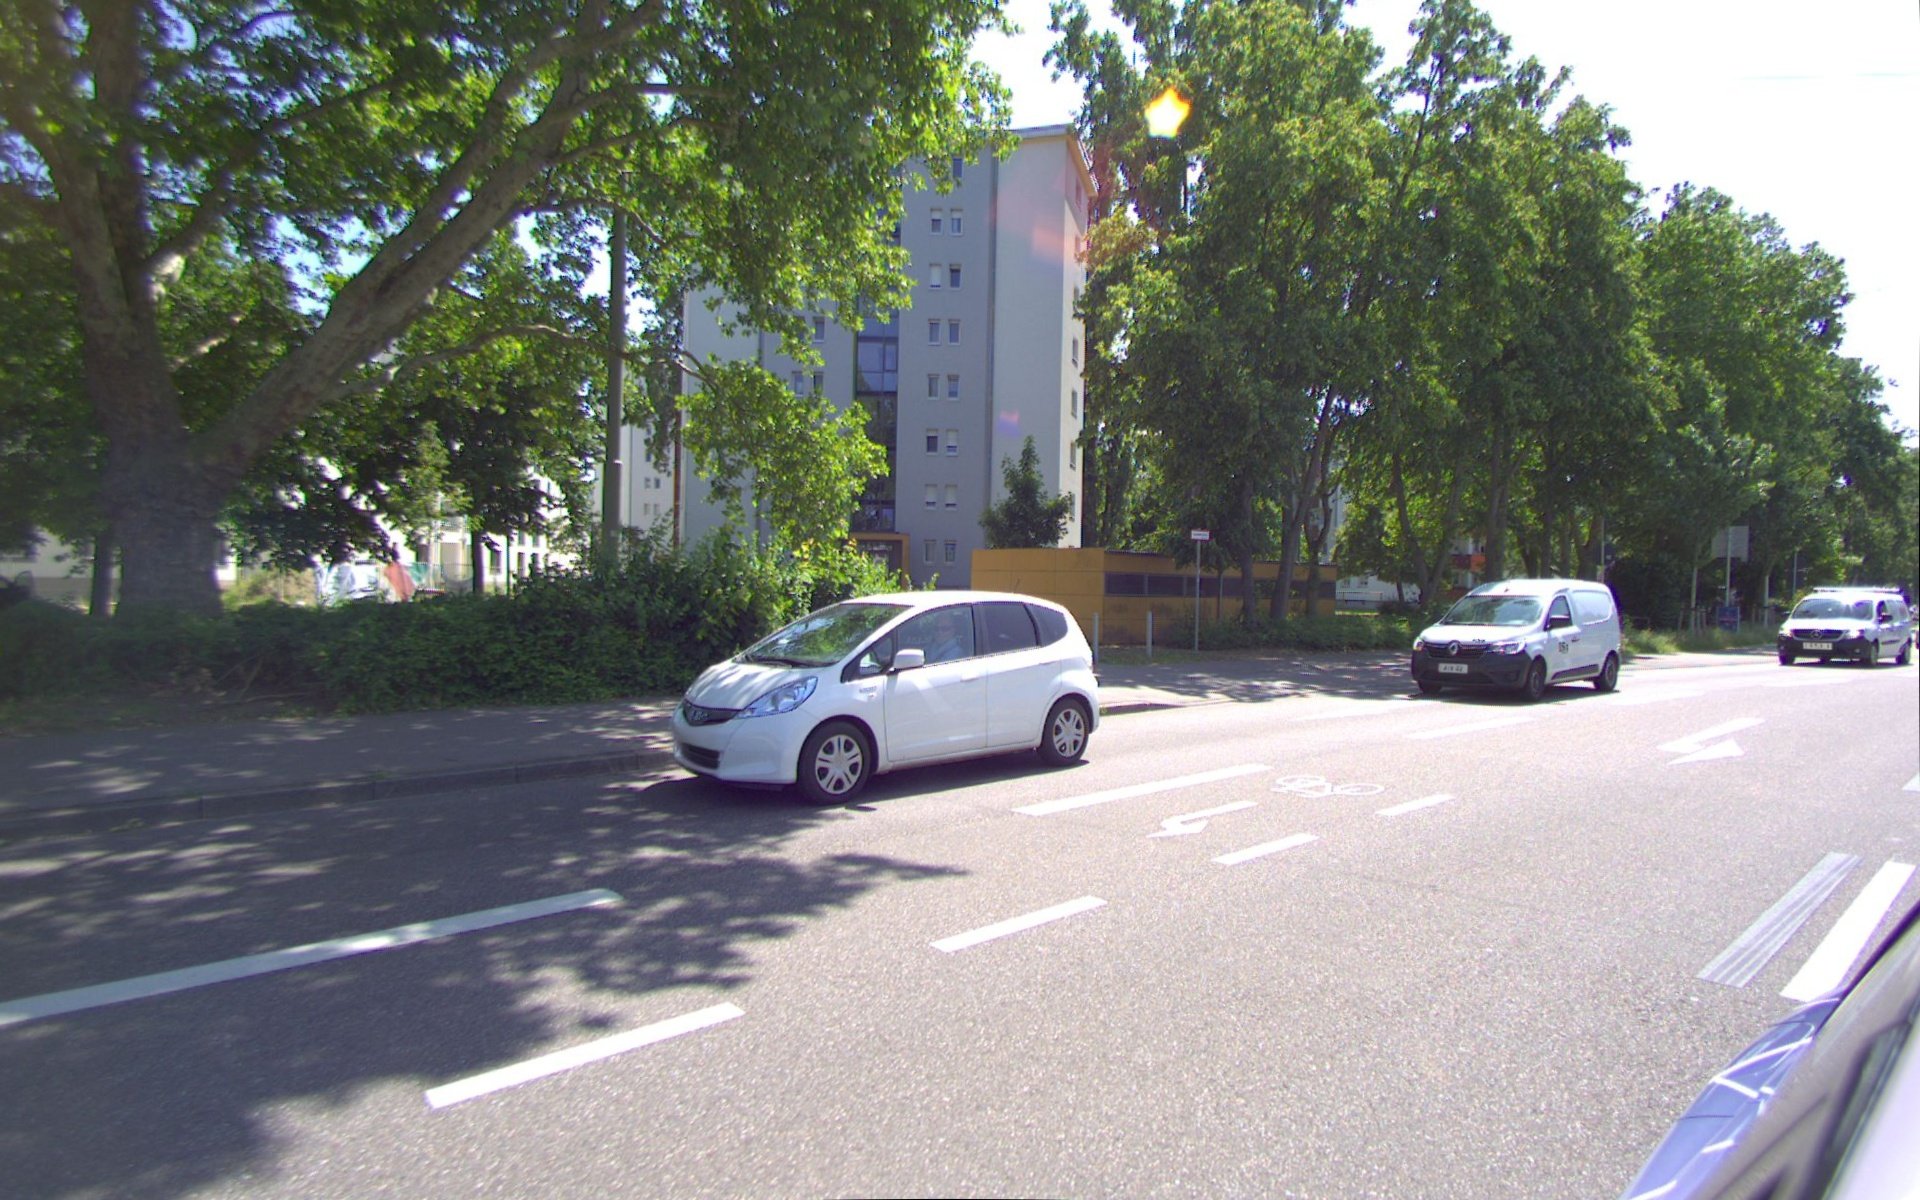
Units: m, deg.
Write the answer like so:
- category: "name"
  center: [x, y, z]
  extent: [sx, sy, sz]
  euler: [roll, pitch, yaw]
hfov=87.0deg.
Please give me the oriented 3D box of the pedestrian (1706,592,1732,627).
- category: "pedestrian"
  center: [31.630, 0.397, 42.195]
  extent: [0.749, 1.416, 0.709]
  euler: [1, -1, -40]

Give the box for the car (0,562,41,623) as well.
- category: "car"
  center: [-28.144, -0.209, 28.132]
  extent: [1.709, 1.723, 3.746]
  euler: [0, 0, 3]

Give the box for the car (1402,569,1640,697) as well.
- category: "car"
  center: [8.920, 0.463, 15.959]
  extent: [4.346, 1.769, 1.714]
  euler: [0, -1, -38]

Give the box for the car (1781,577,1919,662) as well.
- category: "car"
  center: [21.870, 0.444, 24.622]
  extent: [4.988, 1.879, 1.810]
  euler: [0, -1, -37]

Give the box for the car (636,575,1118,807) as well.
- category: "car"
  center: [-0.544, 0.600, 8.521]
  extent: [3.812, 1.507, 1.722]
  euler: [0, -1, -42]
